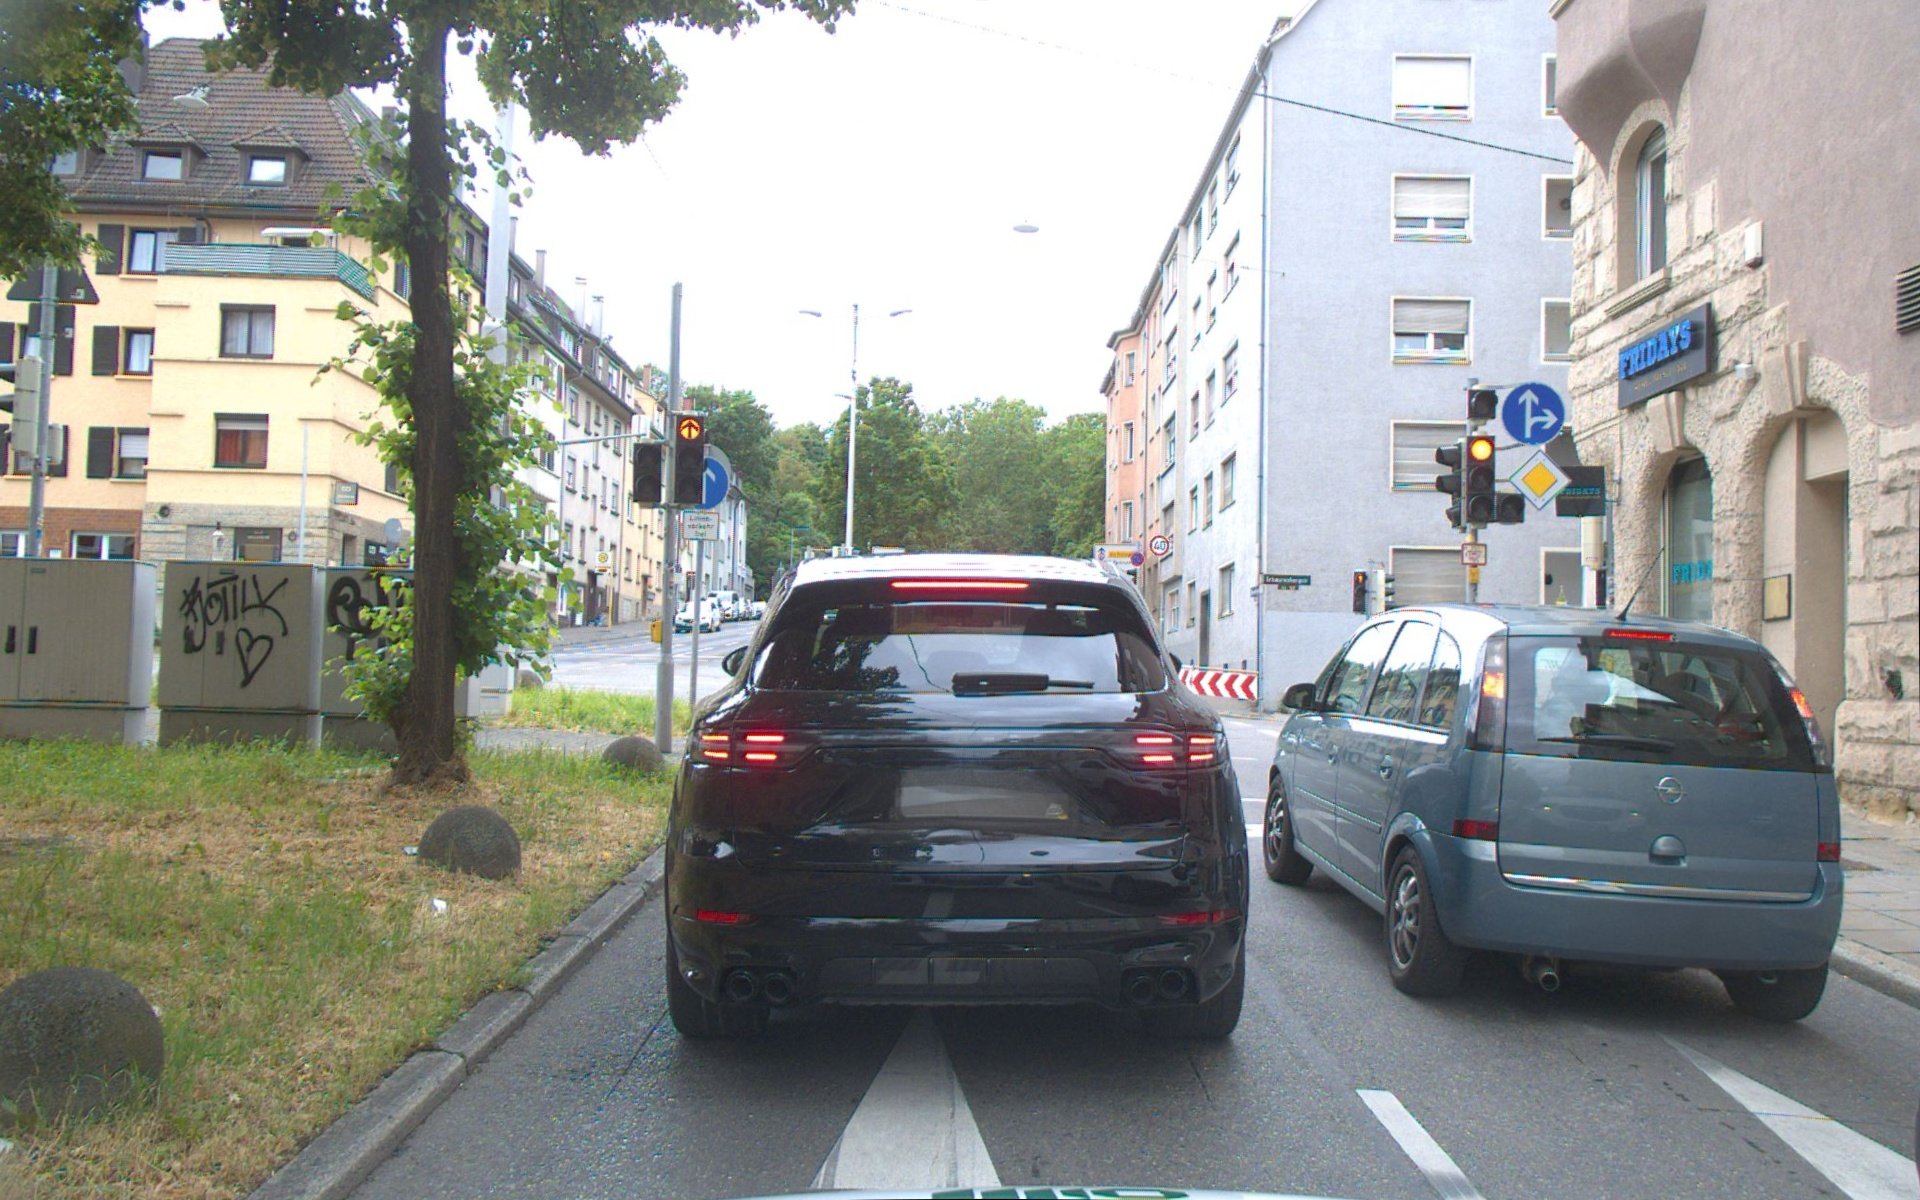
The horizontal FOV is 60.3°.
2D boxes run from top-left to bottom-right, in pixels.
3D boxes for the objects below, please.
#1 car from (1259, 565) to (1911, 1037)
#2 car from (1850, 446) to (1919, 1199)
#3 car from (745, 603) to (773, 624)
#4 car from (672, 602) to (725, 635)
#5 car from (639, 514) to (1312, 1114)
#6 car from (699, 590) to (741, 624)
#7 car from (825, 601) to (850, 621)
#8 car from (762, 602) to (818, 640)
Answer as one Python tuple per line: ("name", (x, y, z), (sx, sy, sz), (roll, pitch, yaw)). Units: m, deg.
("car", (2.630, 0.747, 7.901), (1.596, 1.625, 3.668), (4, 0, -1))
("car", (2.899, 0.663, 1.060), (1.936, 1.806, 4.674), (4, 0, -2))
("car", (-15.138, 1.003, 124.631), (1.655, 1.565, 3.813), (1, 0, 0))
("car", (-12.497, 0.879, 79.227), (1.806, 1.512, 3.898), (1, 0, 1))
("car", (0.022, 0.619, 6.723), (1.916, 1.704, 3.999), (0, 0, -1))
("car", (-15.118, 0.423, 104.445), (1.975, 2.081, 4.666), (1, 0, 0))
("car", (-9.843, 0.866, 133.080), (1.585, 1.506, 3.824), (1, -1, 3))
("car", (-6.717, 0.809, 65.724), (1.824, 1.412, 4.094), (1, 0, 0))
